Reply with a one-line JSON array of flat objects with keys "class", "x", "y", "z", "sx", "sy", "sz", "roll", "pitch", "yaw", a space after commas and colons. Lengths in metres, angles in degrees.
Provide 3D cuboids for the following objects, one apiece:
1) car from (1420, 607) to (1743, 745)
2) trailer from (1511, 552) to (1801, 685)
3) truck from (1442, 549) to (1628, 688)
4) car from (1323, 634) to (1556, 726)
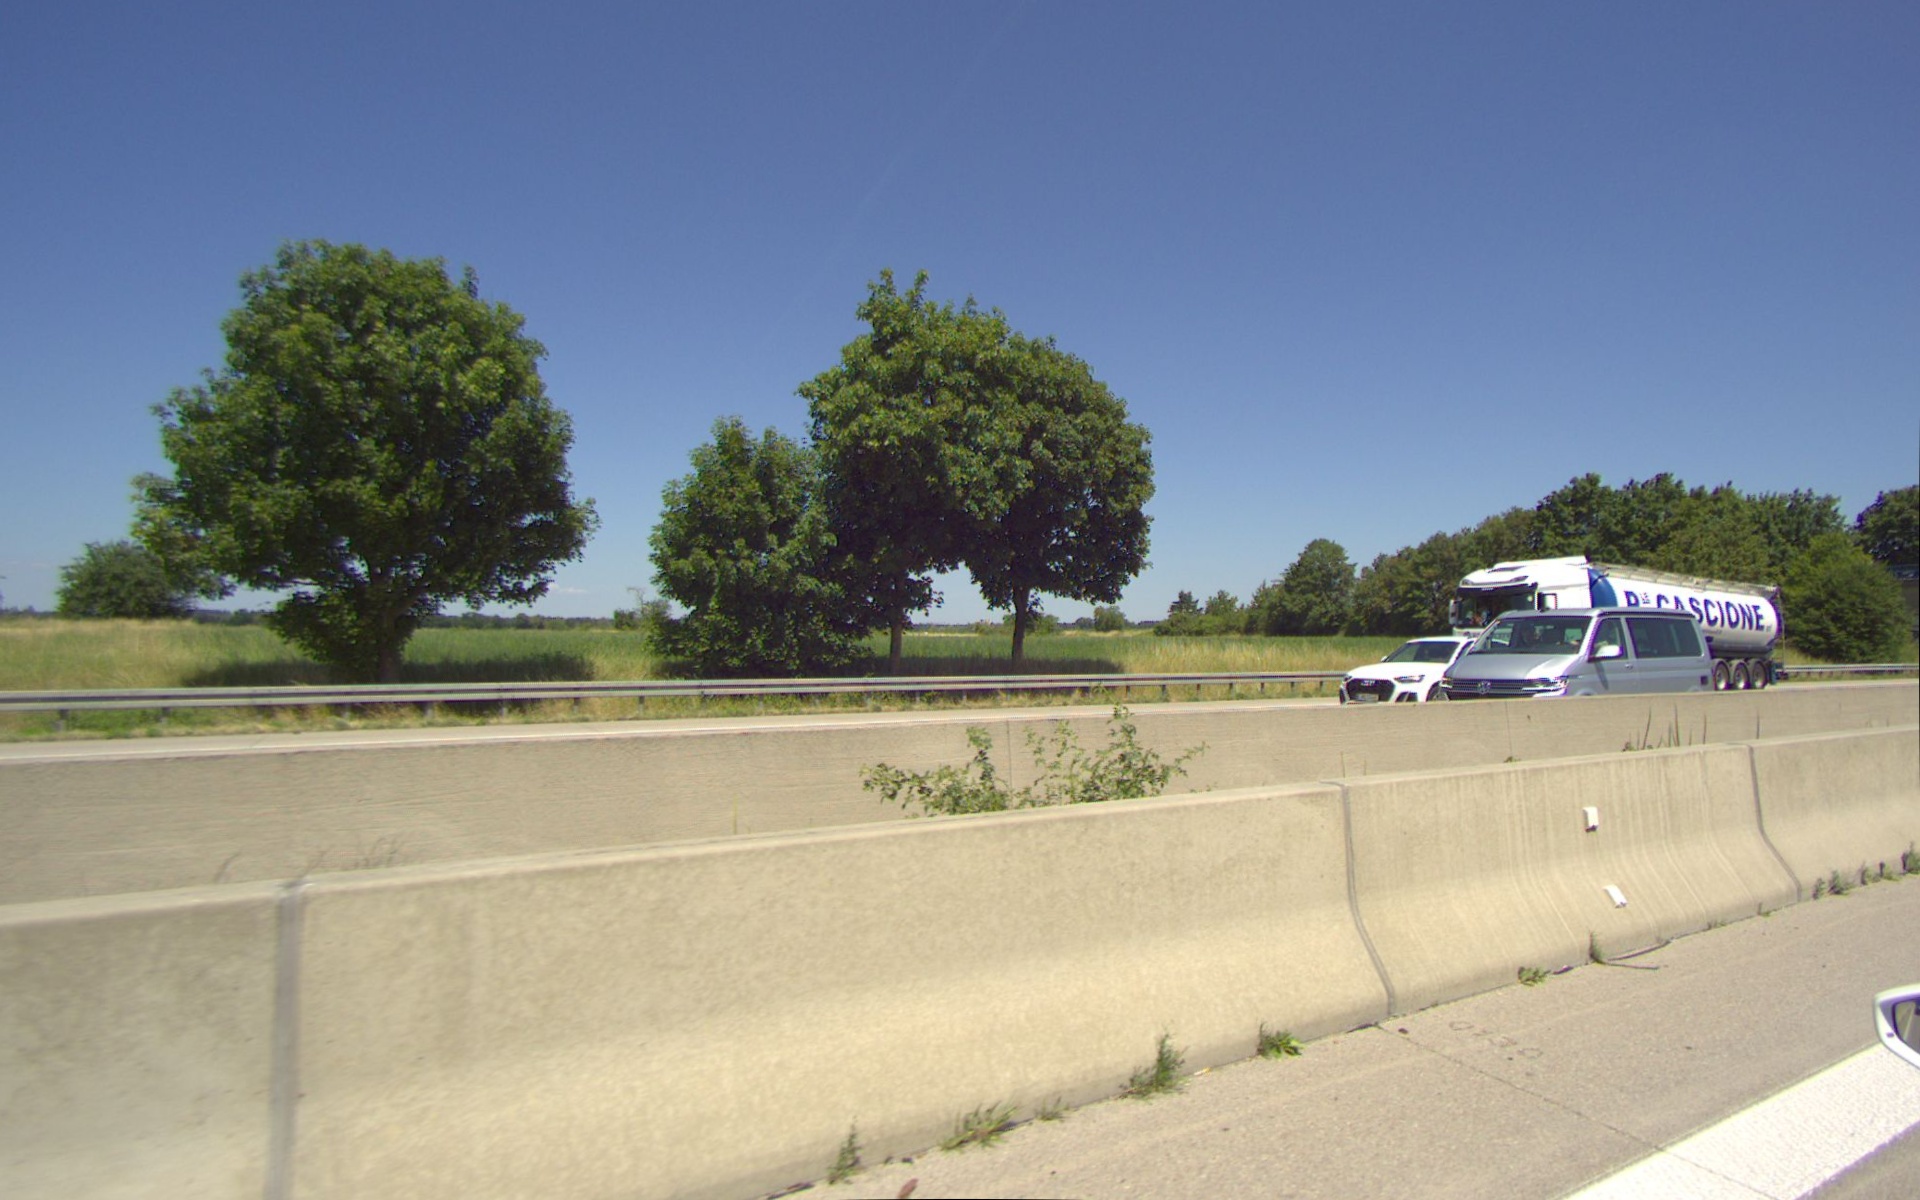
[{"class": "car", "x": 9.339, "y": 1.063, "z": 14.982, "sx": 5.056, "sy": 1.757, "sz": 1.984, "roll": 1, "pitch": -3, "yaw": -31}, {"class": "trailer", "x": 22.703, "y": 0.630, "z": 32.314, "sx": 12.705, "sy": 3.679, "sz": 2.561, "roll": 1, "pitch": 0, "yaw": -31}, {"class": "truck", "x": 16.353, "y": 0.519, "z": 28.560, "sx": 4.664, "sy": 3.637, "sz": 2.589, "roll": 1, "pitch": 0, "yaw": -30}, {"class": "car", "x": 9.551, "y": 1.512, "z": 19.914, "sx": 4.631, "sy": 1.632, "sz": 1.914, "roll": 1, "pitch": -3, "yaw": -31}]
